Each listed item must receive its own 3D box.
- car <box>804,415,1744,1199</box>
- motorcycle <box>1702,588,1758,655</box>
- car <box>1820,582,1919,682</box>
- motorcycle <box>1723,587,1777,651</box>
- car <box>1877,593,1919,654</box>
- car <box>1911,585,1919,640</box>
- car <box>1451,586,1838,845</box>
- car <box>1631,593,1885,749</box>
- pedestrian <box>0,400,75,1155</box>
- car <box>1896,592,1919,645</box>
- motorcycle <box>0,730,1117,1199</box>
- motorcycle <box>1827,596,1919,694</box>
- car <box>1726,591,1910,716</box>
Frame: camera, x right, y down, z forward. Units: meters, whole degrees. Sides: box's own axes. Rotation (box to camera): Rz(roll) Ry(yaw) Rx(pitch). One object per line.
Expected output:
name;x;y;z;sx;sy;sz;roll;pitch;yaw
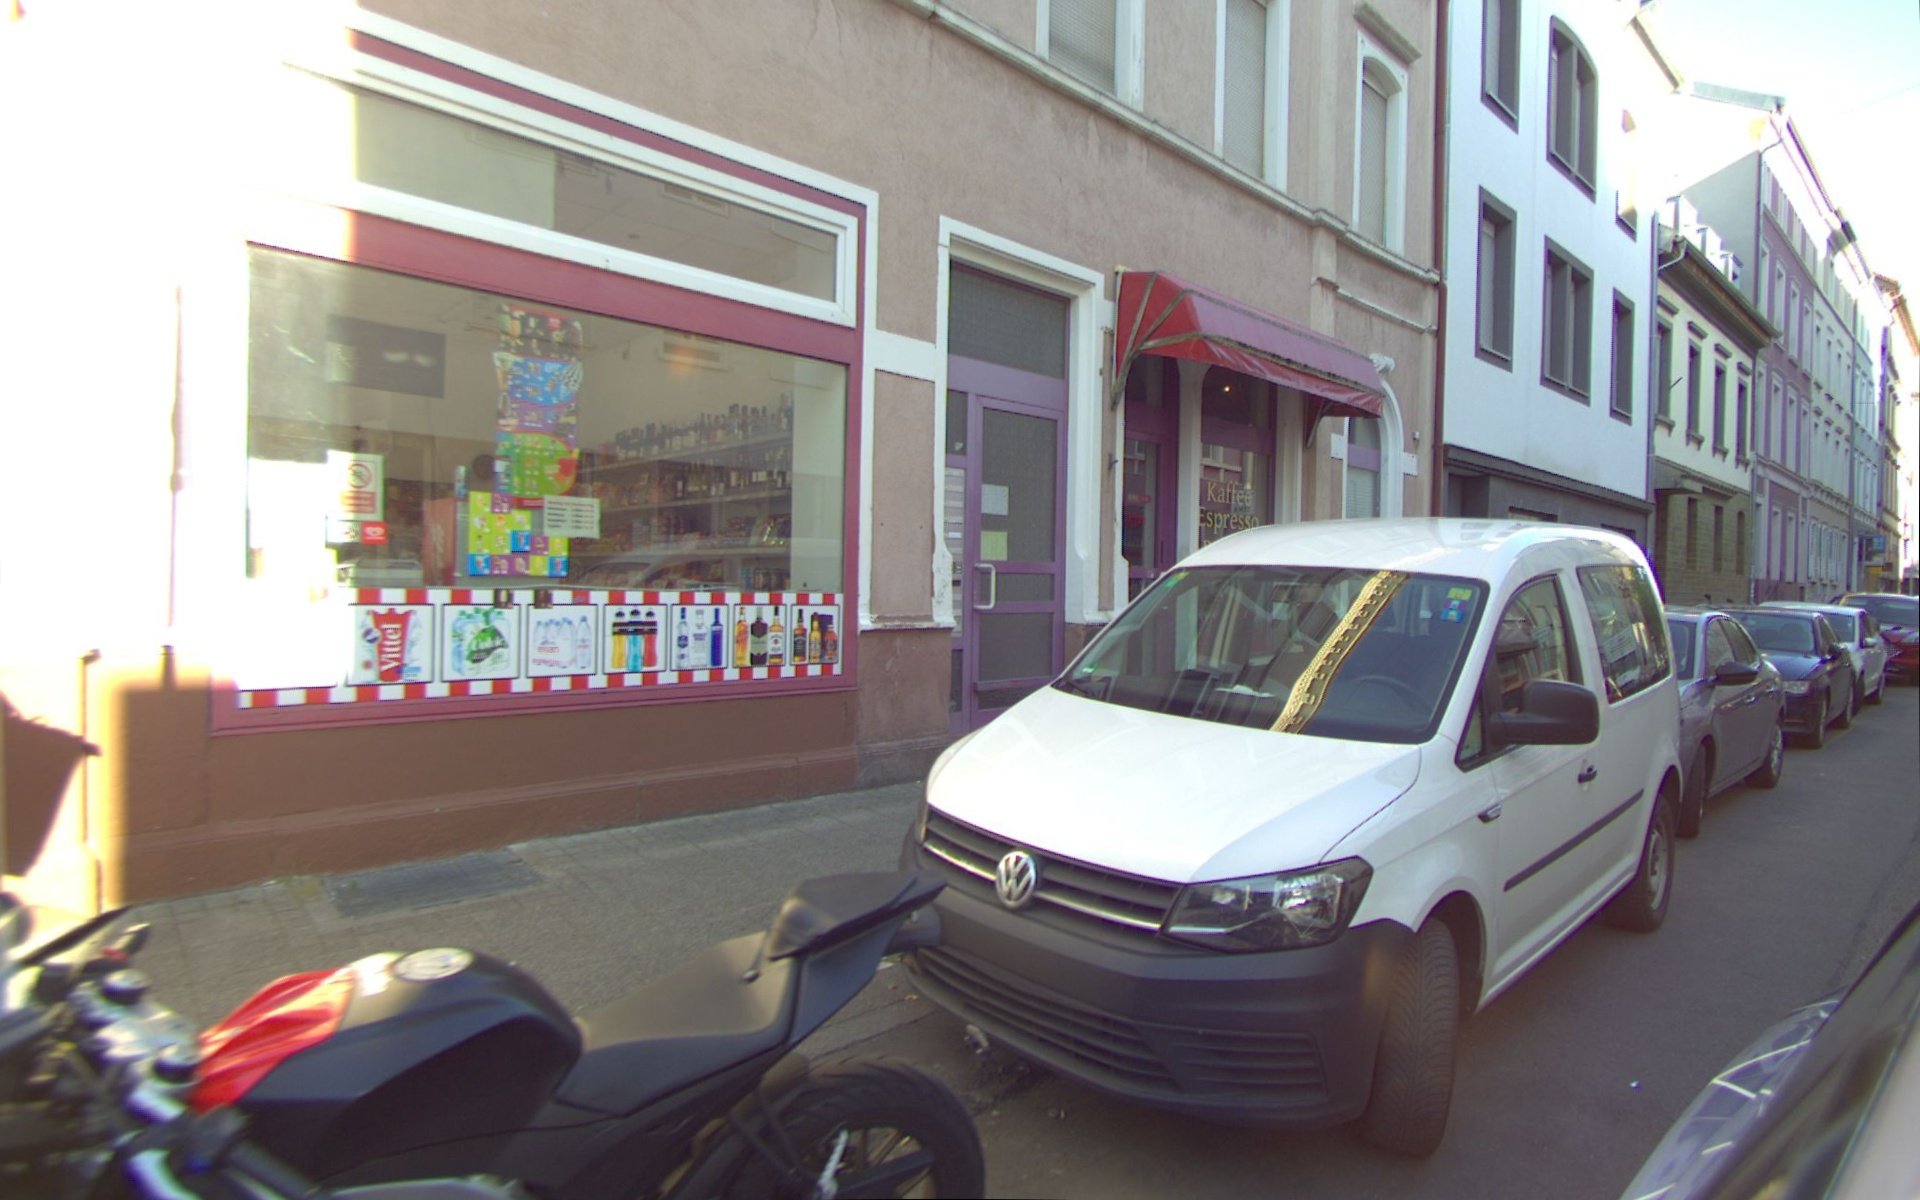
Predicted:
car;1.659;0.488;4.142;4.297;1.839;1.751;-1;3;-43
motorcycle;16.875;0.437;22.164;2.003;1.414;0.666;-1;0;-43
car;18.612;0.553;20.192;4.334;1.752;1.711;-1;3;-43
motorcycle;18.481;0.415;23.652;2.003;1.414;0.696;-1;0;-43
car;24.358;0.577;25.419;3.817;1.413;1.611;-1;3;-43
car;32.660;0.423;33.273;4.150;1.752;1.711;-1;3;-43
car;5.345;0.636;7.708;3.817;1.425;1.611;-1;3;-43
car;9.358;0.678;11.767;3.817;1.413;1.734;-1;3;-43
pedestrian;-2.818;0.410;2.471;0.973;1.814;0.827;0;4;-43
car;28.783;0.544;29.704;3.817;1.470;1.611;-1;3;-43
motorcycle;-0.740;0.915;1.736;1.957;1.099;0.722;-1;5;-32
motorcycle;15.693;0.717;17.332;2.230;1.507;0.989;-1;3;-43
car;12.702;0.673;14.906;3.709;1.522;1.618;-1;3;-43
